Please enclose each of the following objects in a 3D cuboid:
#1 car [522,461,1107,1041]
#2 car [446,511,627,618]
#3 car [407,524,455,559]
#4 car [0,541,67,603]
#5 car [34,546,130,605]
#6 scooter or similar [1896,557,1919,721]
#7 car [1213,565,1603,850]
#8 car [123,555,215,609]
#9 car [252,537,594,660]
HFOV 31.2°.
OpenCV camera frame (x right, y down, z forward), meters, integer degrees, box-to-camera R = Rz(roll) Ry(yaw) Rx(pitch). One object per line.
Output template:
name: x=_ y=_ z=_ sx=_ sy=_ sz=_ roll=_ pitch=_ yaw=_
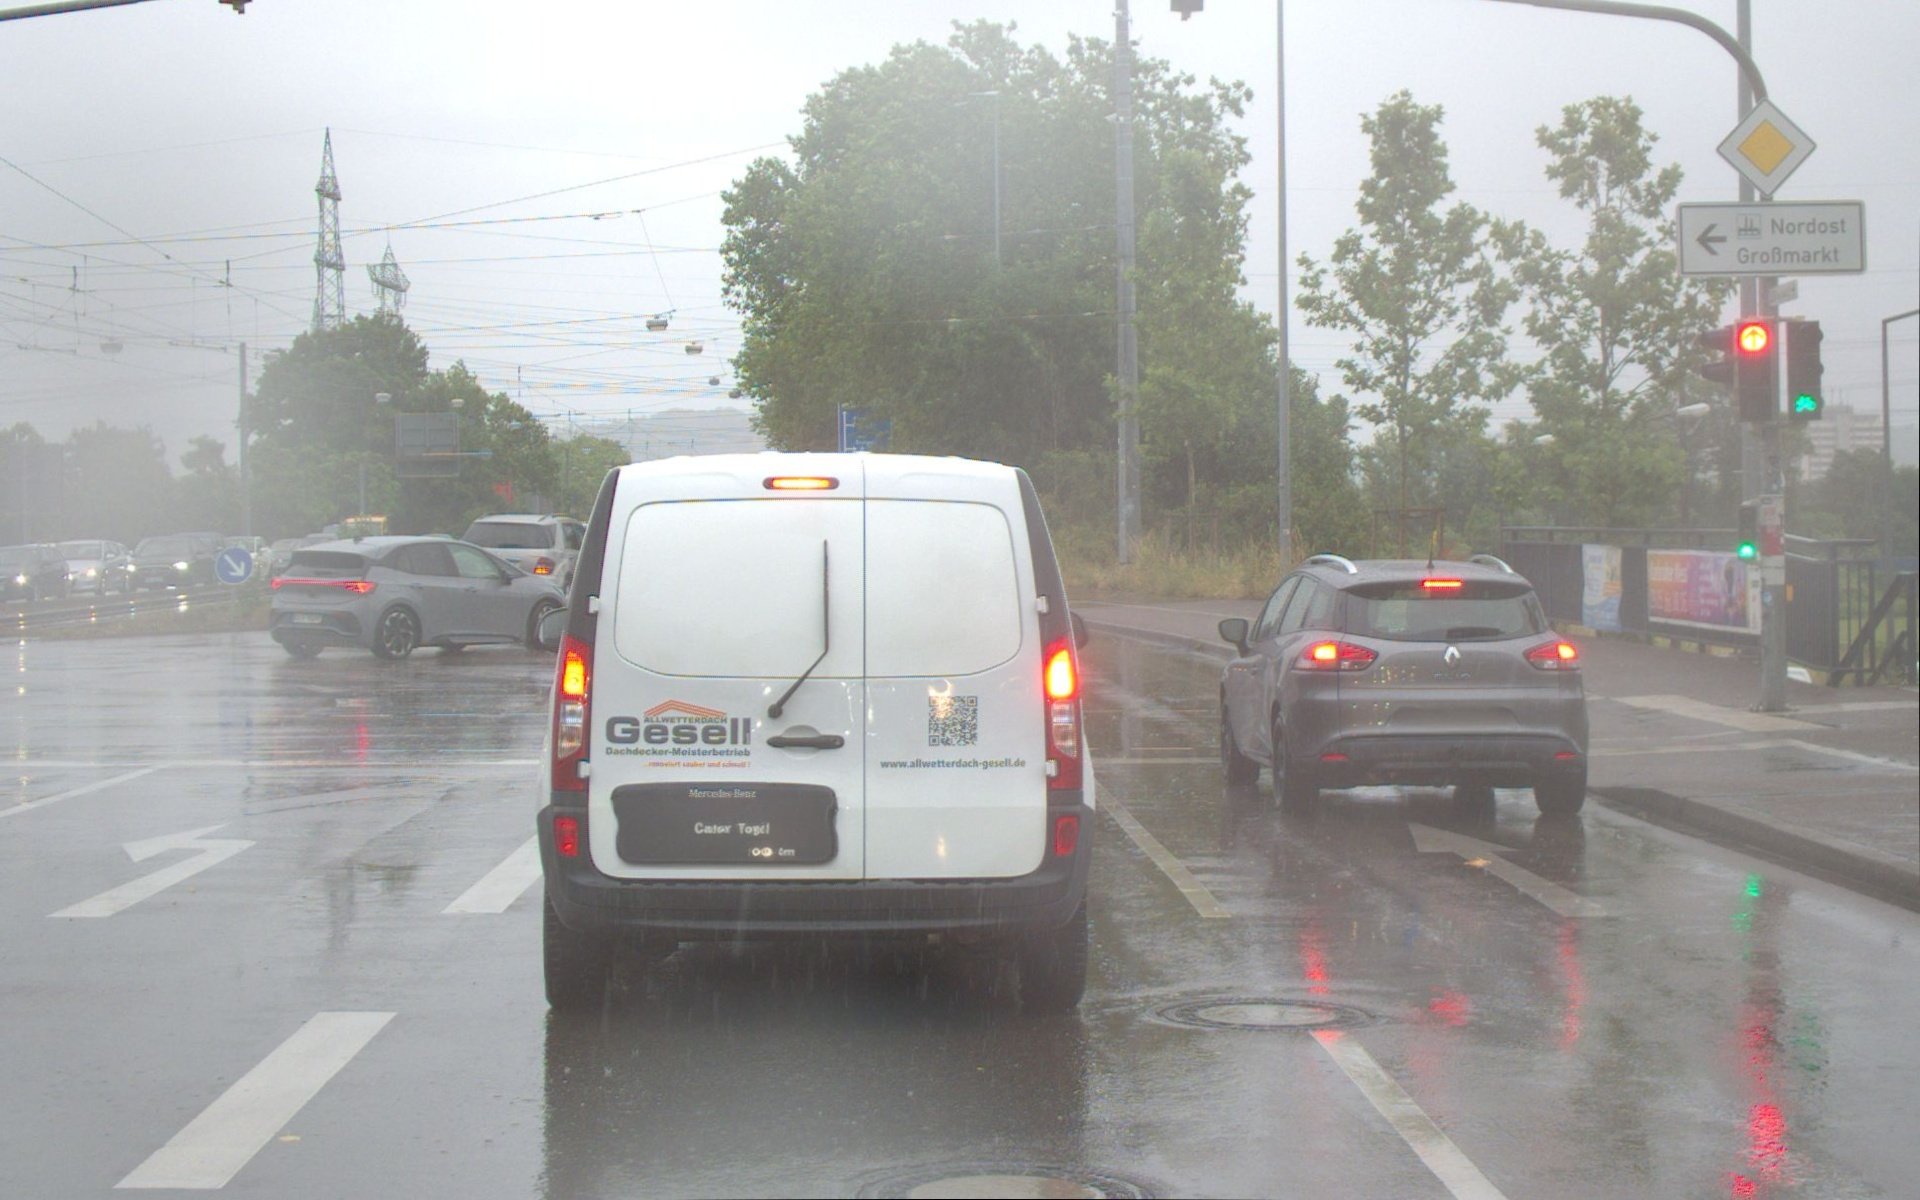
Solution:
car: x=-0.582 y=0.403 z=12.460 sx=1.754 sy=1.744 sz=4.170 roll=0 pitch=1 yaw=-4
car: x=-7.053 y=-0.568 z=57.660 sx=1.948 sy=1.656 sz=4.463 roll=1 pitch=0 yaw=7
car: x=-23.500 y=-2.605 z=152.835 sx=1.559 sy=1.421 sz=3.569 roll=2 pitch=0 yaw=-1
car: x=-22.605 y=-0.665 z=82.181 sx=1.559 sy=1.421 sz=3.569 roll=2 pitch=0 yaw=-1
car: x=-22.624 y=-0.617 z=88.670 sx=1.559 sy=1.421 sz=3.569 roll=2 pitch=0 yaw=-1
scooter or similar: x=7.446 y=0.301 z=24.617 sx=0.690 sy=1.207 sz=3.020 roll=-1 pitch=1 yaw=1
car: x=2.546 y=0.557 z=20.395 sx=1.684 sy=1.503 sz=3.921 roll=1 pitch=1 yaw=-1
car: x=-22.058 y=-0.500 z=95.985 sx=1.710 sy=1.421 sz=3.809 roll=2 pitch=0 yaw=-1
car: x=-6.804 y=0.003 z=43.892 sx=1.716 sy=1.446 sz=4.189 roll=1 pitch=-1 yaw=40
